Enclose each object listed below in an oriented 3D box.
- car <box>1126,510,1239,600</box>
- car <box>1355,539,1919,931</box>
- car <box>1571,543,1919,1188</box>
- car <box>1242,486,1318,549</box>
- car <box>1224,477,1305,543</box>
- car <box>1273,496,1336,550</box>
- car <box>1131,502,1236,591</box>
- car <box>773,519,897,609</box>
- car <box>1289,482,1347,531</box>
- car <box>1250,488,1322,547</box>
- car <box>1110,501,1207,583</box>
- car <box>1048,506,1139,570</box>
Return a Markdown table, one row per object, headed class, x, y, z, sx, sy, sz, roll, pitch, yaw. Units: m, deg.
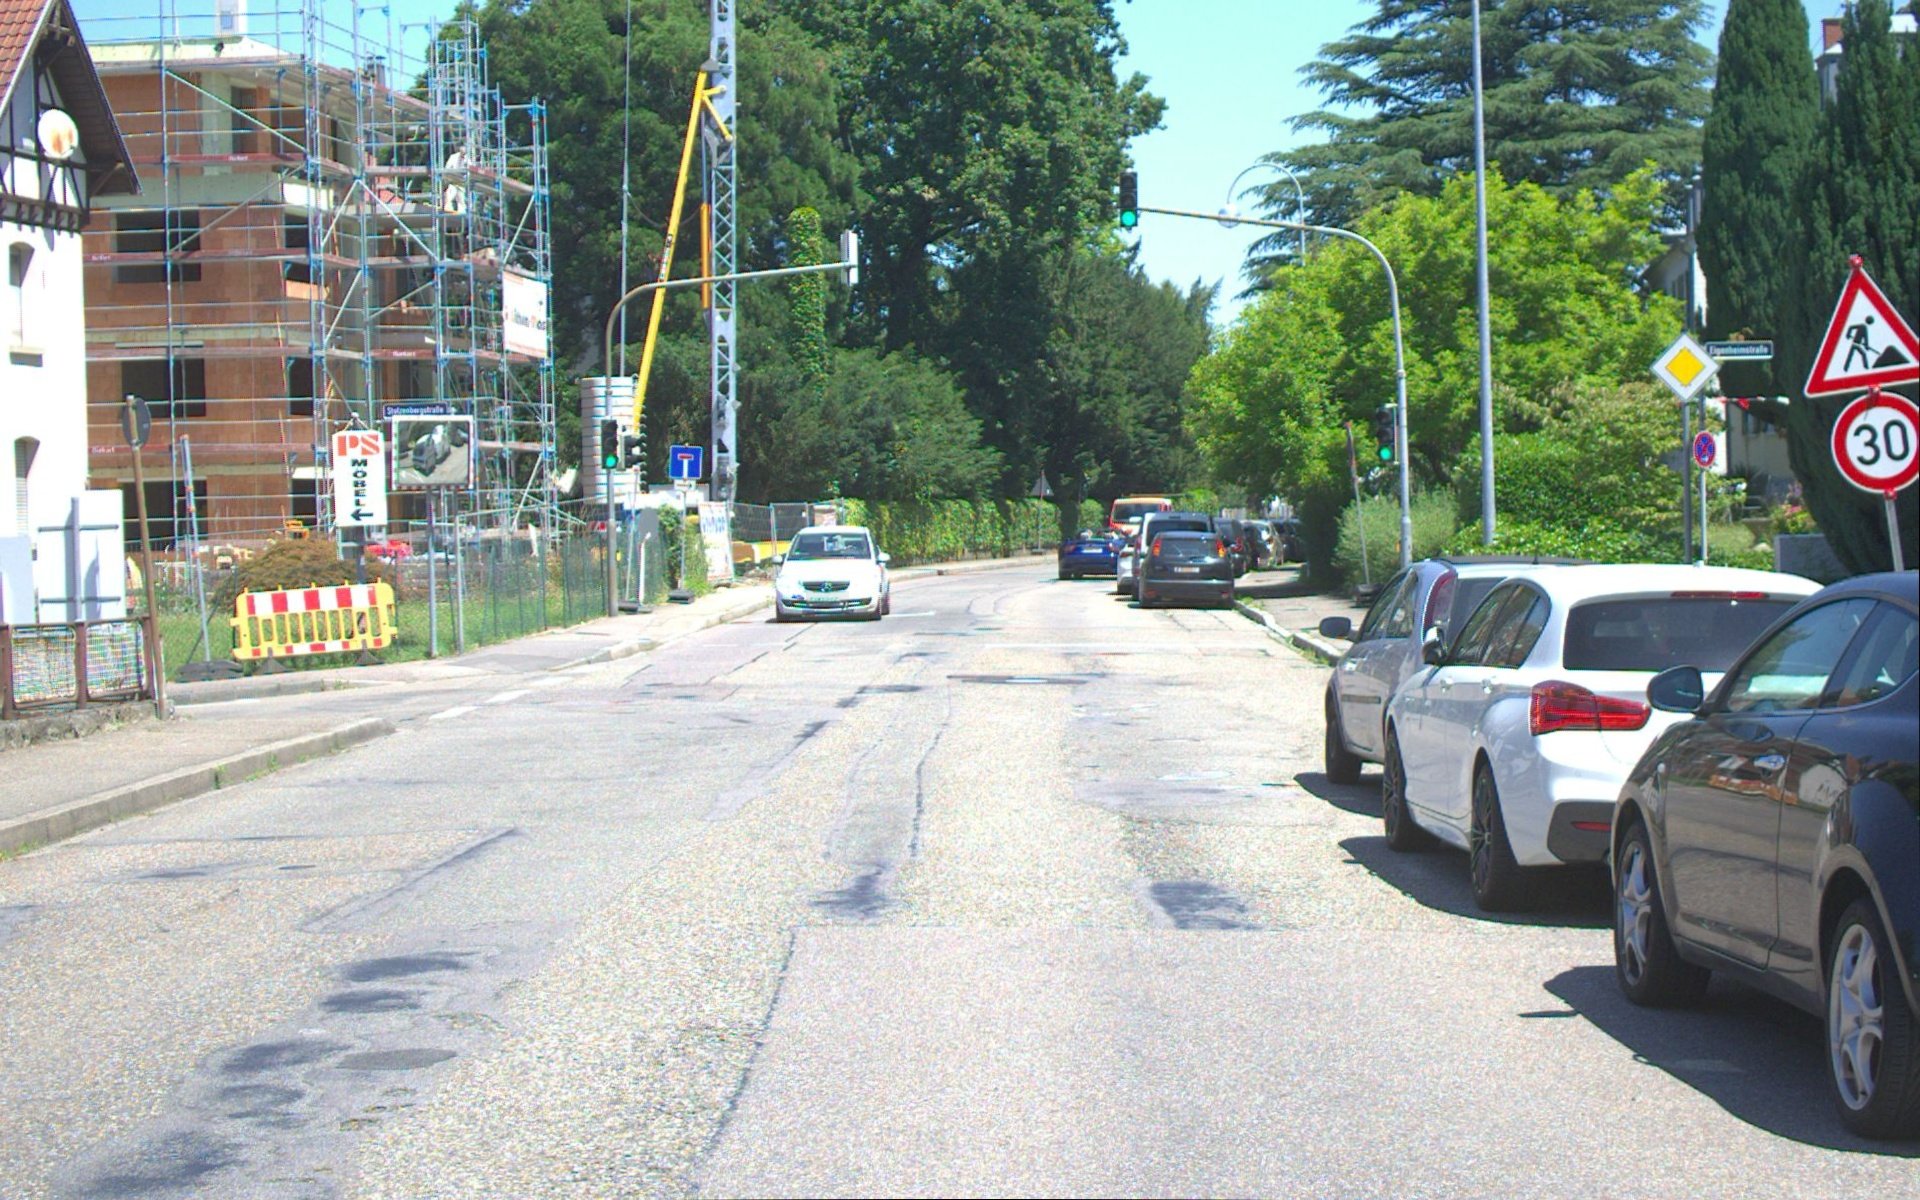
| class | x | y | z | sx | sy | sz | roll | pitch | yaw |
| --- | --- | --- | --- | --- | --- | --- | --- | --- | --- |
| car | 4.156 | -0.864 | 64.279 | 1.994 | 1.568 | 4.000 | -2 | 1 | 4 |
| car | 2.907 | 0.482 | 15.146 | 1.761 | 1.446 | 3.890 | -1 | 1 | -2 |
| car | 3.047 | 0.582 | 9.920 | 1.761 | 1.446 | 3.840 | -1 | 1 | -2 |
| car | 9.004 | -2.315 | 96.493 | 1.994 | 1.656 | 3.999 | -2 | 1 | 6 |
| car | 8.125 | -2.384 | 91.511 | 1.994 | 1.656 | 3.999 | -2 | 1 | 6 |
| car | 11.351 | -2.534 | 113.103 | 1.994 | 1.656 | 3.999 | -2 | 1 | 6 |
| car | 4.460 | -1.077 | 68.673 | 1.994 | 1.656 | 4.000 | -2 | 1 | 4 |
| car | -2.106 | -0.641 | 58.822 | 1.761 | 1.446 | 3.839 | -1 | 1 | 3 |
| car | 12.884 | -3.346 | 123.696 | 1.994 | 1.656 | 3.999 | -2 | 1 | 6 |
| car | 9.625 | -2.432 | 101.404 | 1.994 | 1.656 | 3.999 | -2 | 1 | 6 |
| car | 4.302 | -1.271 | 74.348 | 1.994 | 1.656 | 4.000 | -2 | 1 | 4 |
| car | 3.489 | -1.633 | 89.221 | 1.959 | 1.463 | 4.000 | -1 | 3 | 8 |
